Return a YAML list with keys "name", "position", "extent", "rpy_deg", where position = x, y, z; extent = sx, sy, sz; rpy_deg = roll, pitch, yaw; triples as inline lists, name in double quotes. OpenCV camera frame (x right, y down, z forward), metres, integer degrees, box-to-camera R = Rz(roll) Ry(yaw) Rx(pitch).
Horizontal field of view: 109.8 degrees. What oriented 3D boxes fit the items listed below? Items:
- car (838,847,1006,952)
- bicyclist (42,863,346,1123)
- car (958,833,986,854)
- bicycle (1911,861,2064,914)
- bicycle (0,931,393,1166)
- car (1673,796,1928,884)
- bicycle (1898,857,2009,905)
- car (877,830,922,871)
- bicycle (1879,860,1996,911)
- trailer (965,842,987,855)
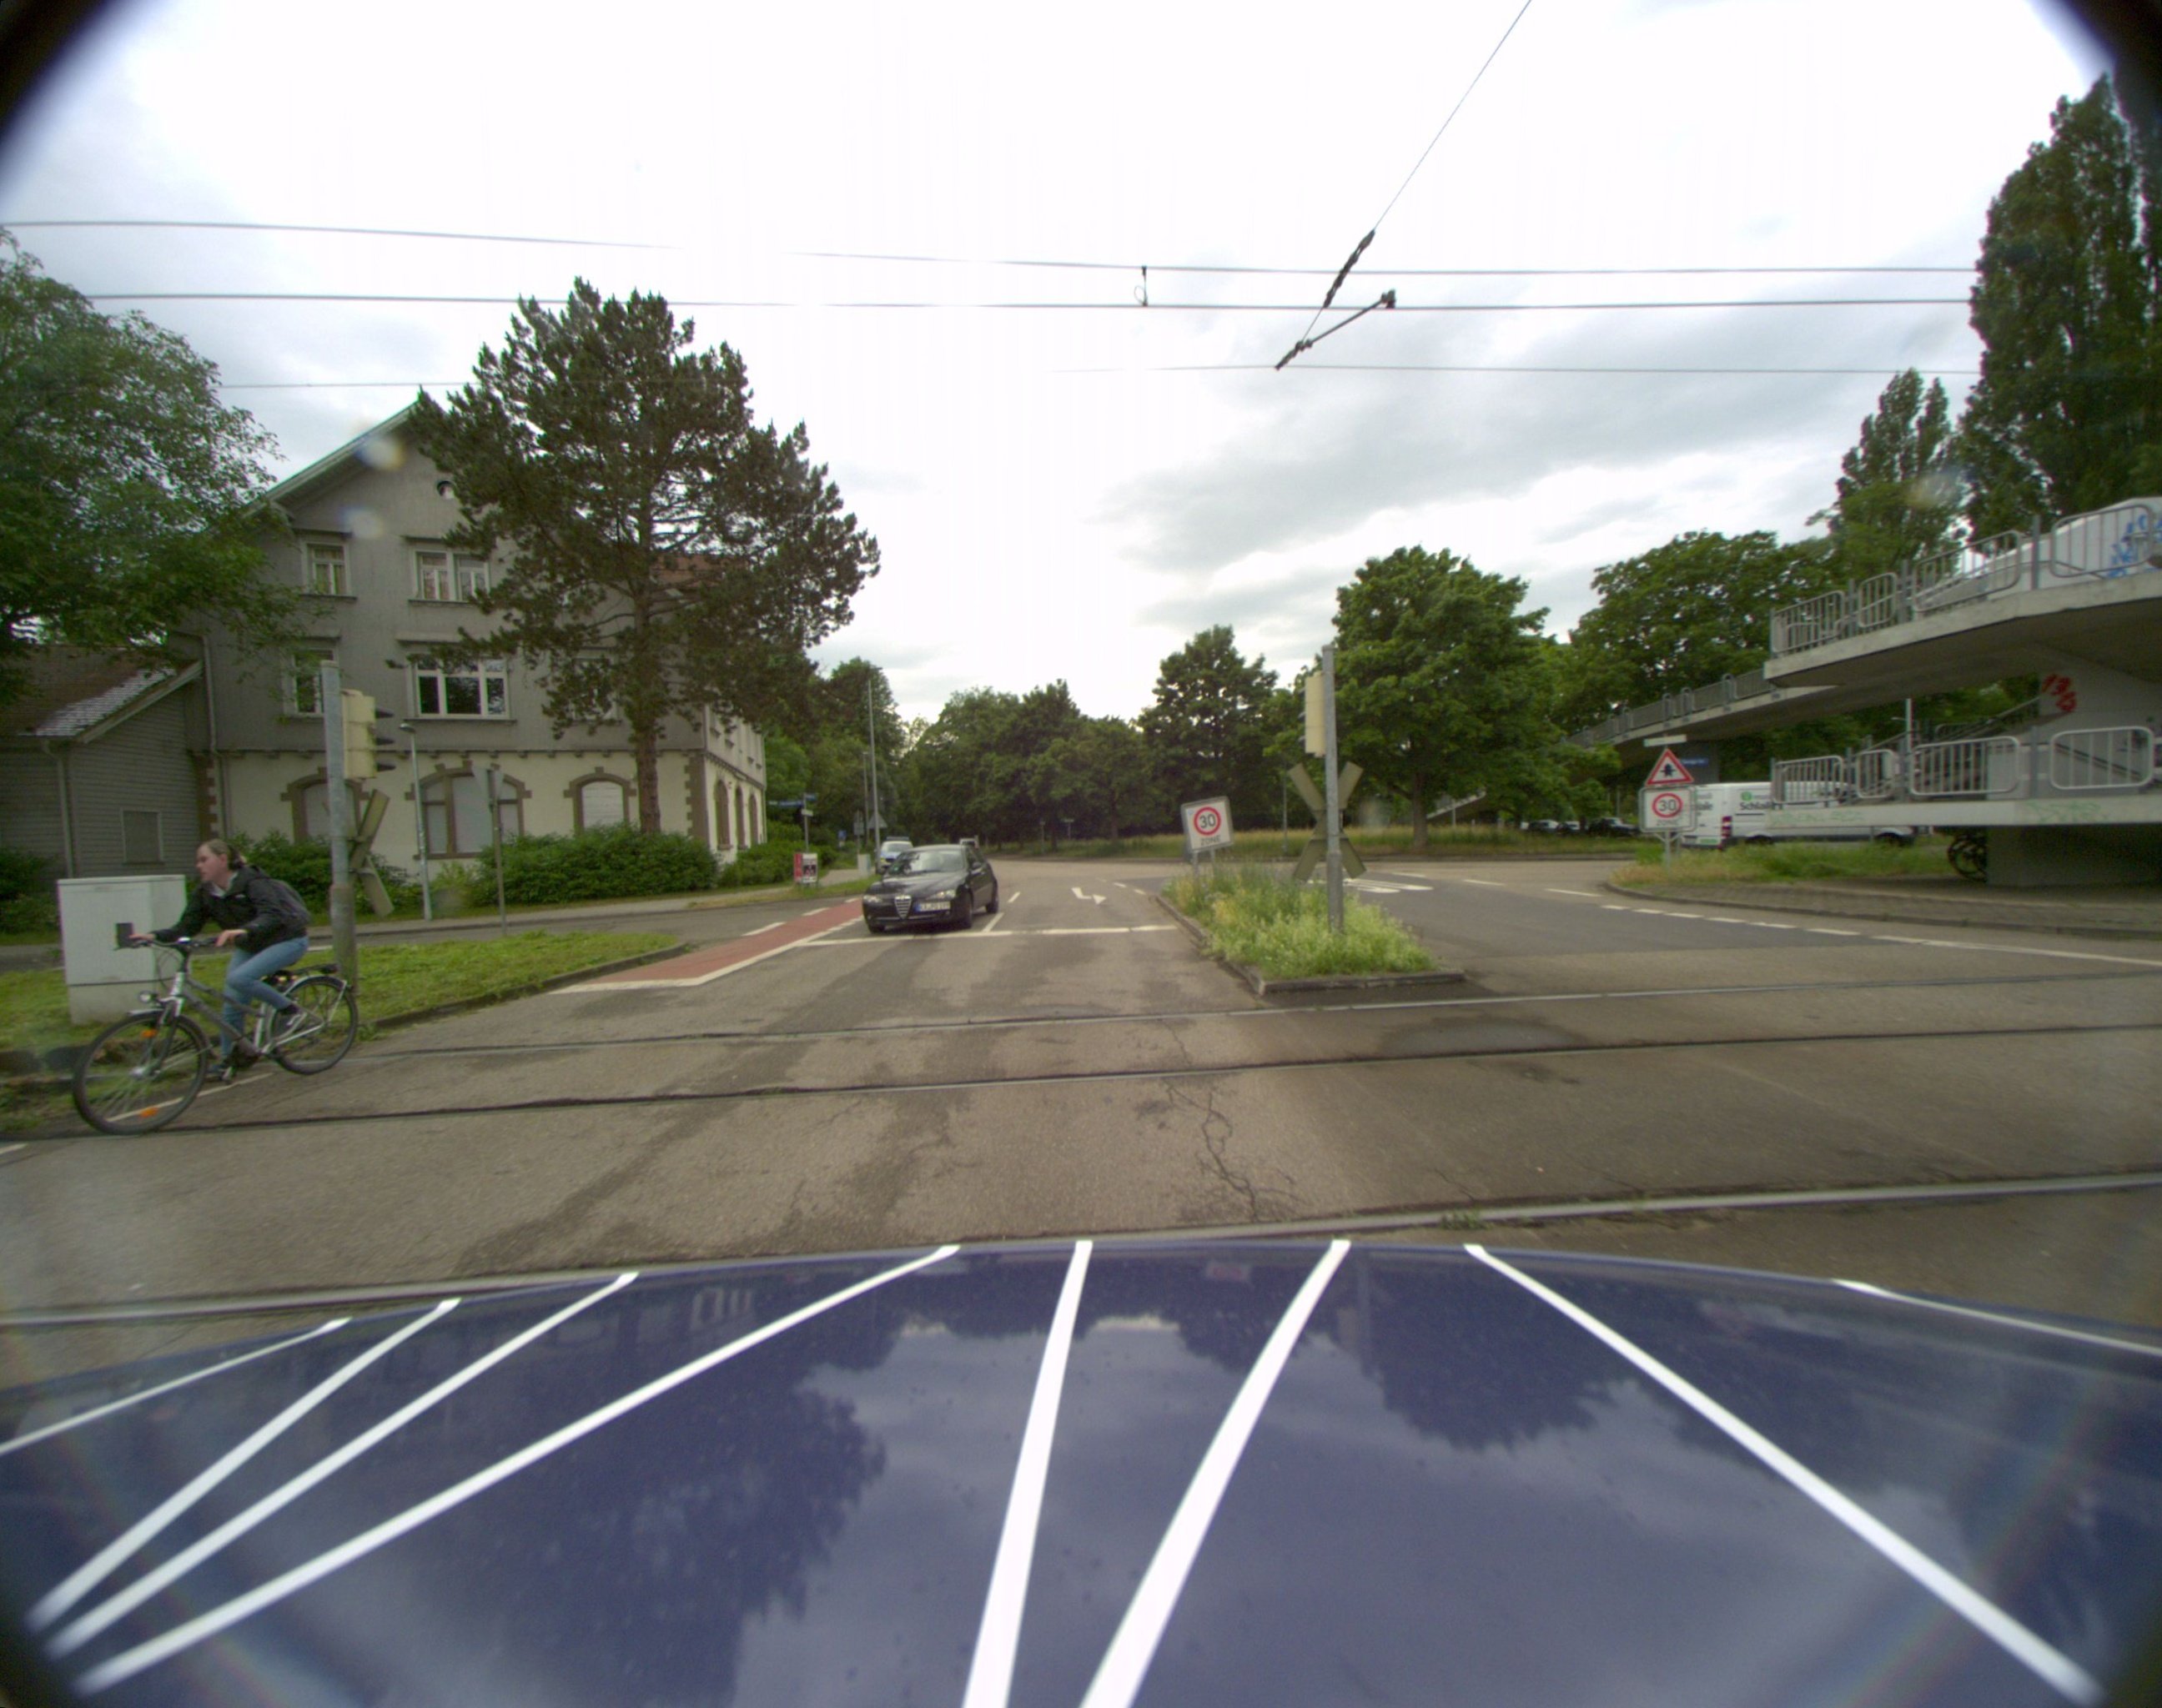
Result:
- name: "car"
  position: [-2.650, 0.673, 13.856]
  extent: [1.802, 1.449, 4.540]
  rpy_deg: [-2, 2, 3]
- name: "bicyclist"
  position: [-5.608, 0.818, 4.895]
  extent: [0.623, 1.417, 0.961]
  rpy_deg: [-6, 3, -2]
- name: "car"
  position: [-10.172, -0.974, 70.379]
  extent: [2.096, 1.847, 4.216]
  rpy_deg: [-2, 1, -14]
- name: "bicycle"
  position: [15.892, 0.580, 13.363]
  extent: [1.739, 0.880, 0.395]
  rpy_deg: [-1, 3, 22]
- name: "bicycle"
  position: [-5.725, 1.150, 5.088]
  extent: [0.383, 0.975, 2.028]
  rpy_deg: [-2, 2, -2]
- name: "car"
  position: [20.898, -0.437, 22.301]
  extent: [5.202, 2.280, 2.140]
  rpy_deg: [-2, 3, 5]
- name: "bicycle"
  position: [17.141, 0.532, 14.942]
  extent: [1.640, 0.880, 0.394]
  rpy_deg: [-2, 2, 3]
- name: "car"
  position: [-8.619, -0.216, 35.979]
  extent: [1.938, 1.839, 3.994]
  rpy_deg: [0, 2, -14]
- name: "bicycle"
  position: [15.883, 0.582, 14.109]
  extent: [1.640, 0.880, 0.394]
  rpy_deg: [-2, 2, 3]
- name: "trailer"
  position: [-9.211, -0.496, 66.720]
  extent: [1.572, 0.980, 3.460]
  rpy_deg: [-2, 1, -13]
